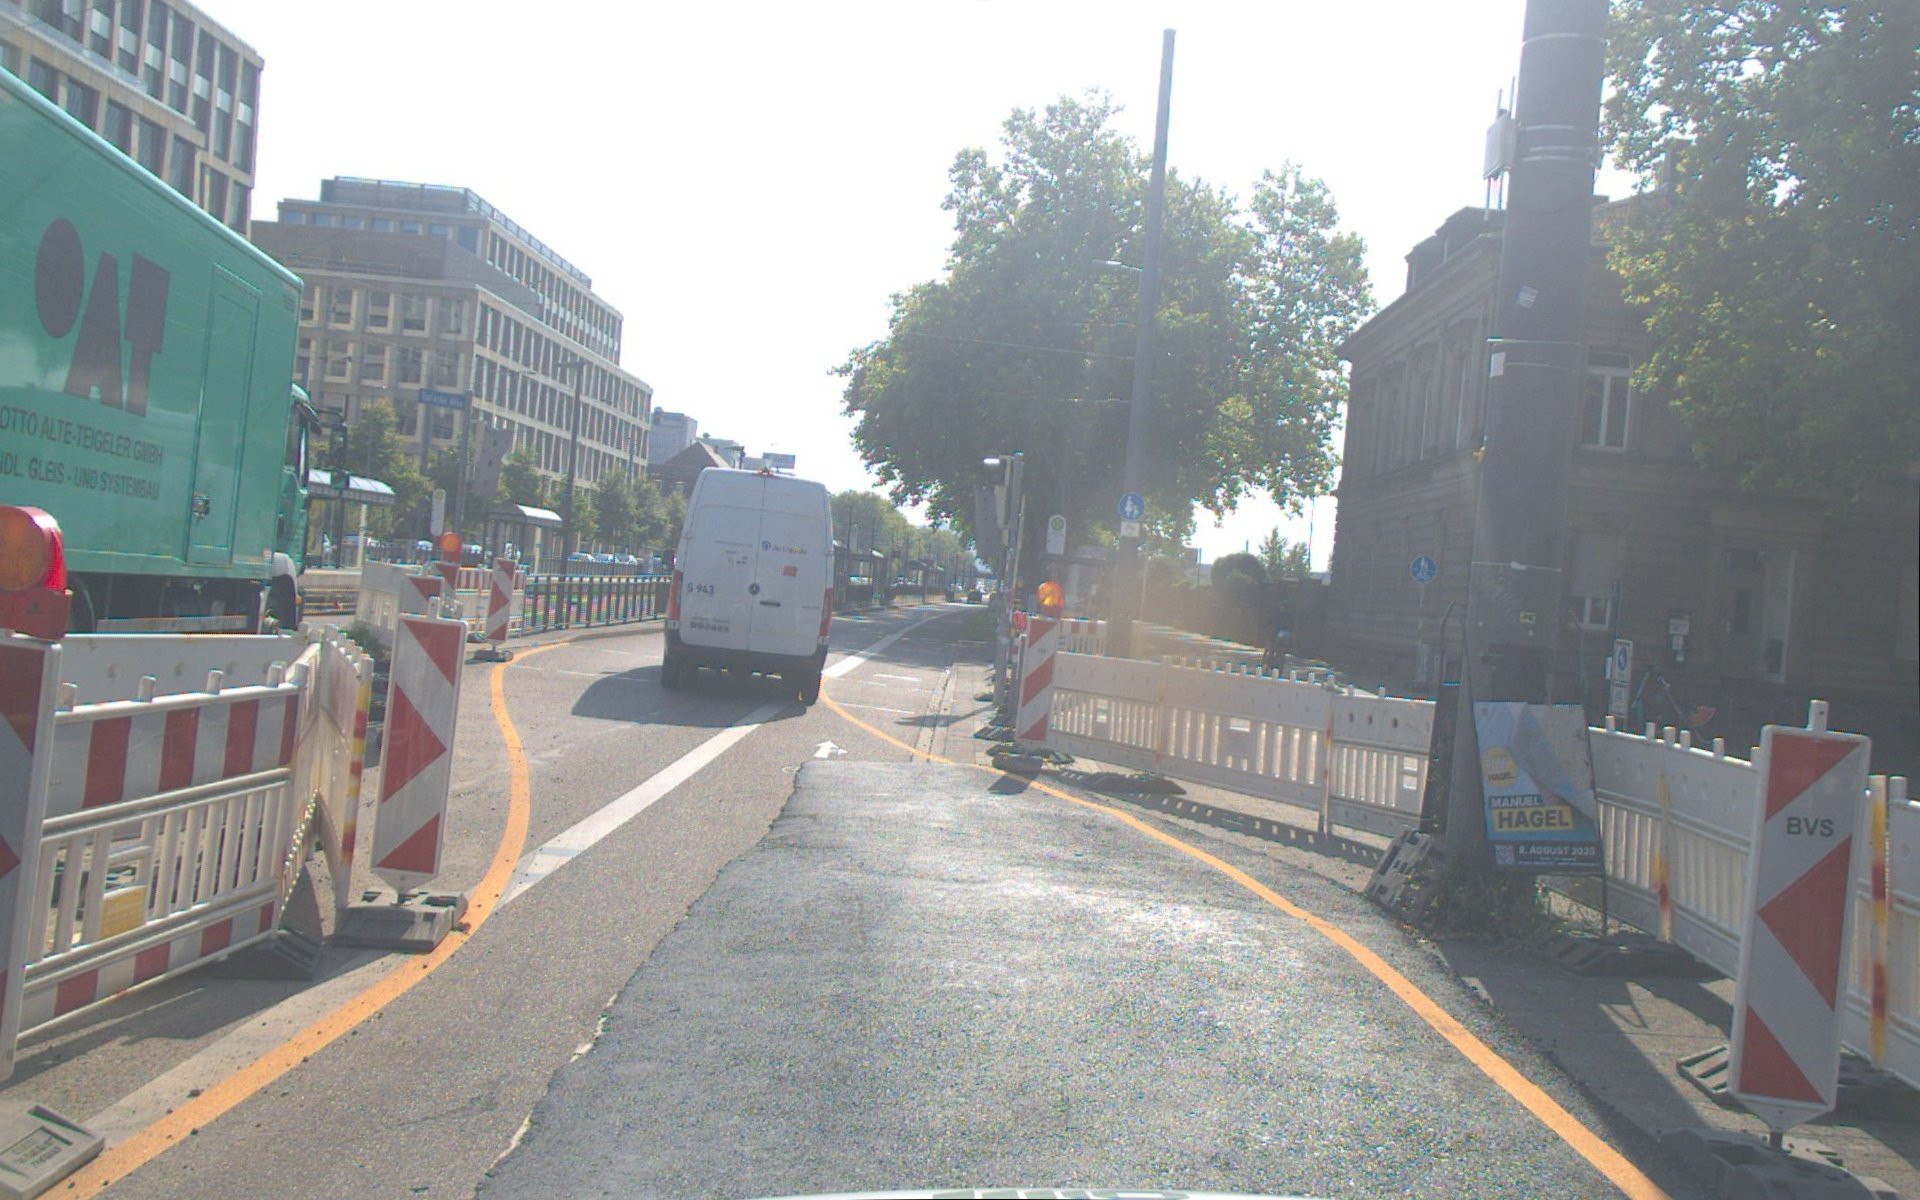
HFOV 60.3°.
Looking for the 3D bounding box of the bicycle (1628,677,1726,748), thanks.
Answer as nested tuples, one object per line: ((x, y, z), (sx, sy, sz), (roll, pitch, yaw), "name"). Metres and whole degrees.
((12.952, 2.020, 29.950), (0.483, 1.016, 1.810), (5, 3, -17), "bicycle")

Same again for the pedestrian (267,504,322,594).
((-15.318, -1.159, 38.083), (0.708, 1.984, 0.788), (5, 1, 16), "pedestrian")

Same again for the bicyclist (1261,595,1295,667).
((7.170, 0.694, 37.353), (0.460, 1.566, 0.595), (5, 0, -8), "bicyclist")

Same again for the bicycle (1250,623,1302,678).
((7.126, 1.135, 37.384), (0.482, 1.107, 1.854), (5, 1, -8), "bicycle")

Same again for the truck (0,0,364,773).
((-6.615, -1.394, 11.676), (2.743, 3.978, 8.399), (7, 1, -10), "truck")

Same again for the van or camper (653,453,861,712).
((-2.699, -0.252, 21.521), (2.077, 2.727, 5.240), (7, 0, -9), "van or camper")

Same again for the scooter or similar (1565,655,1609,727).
((11.674, 1.677, 30.822), (0.416, 1.249, 1.174), (5, 0, 8), "scooter or similar")
